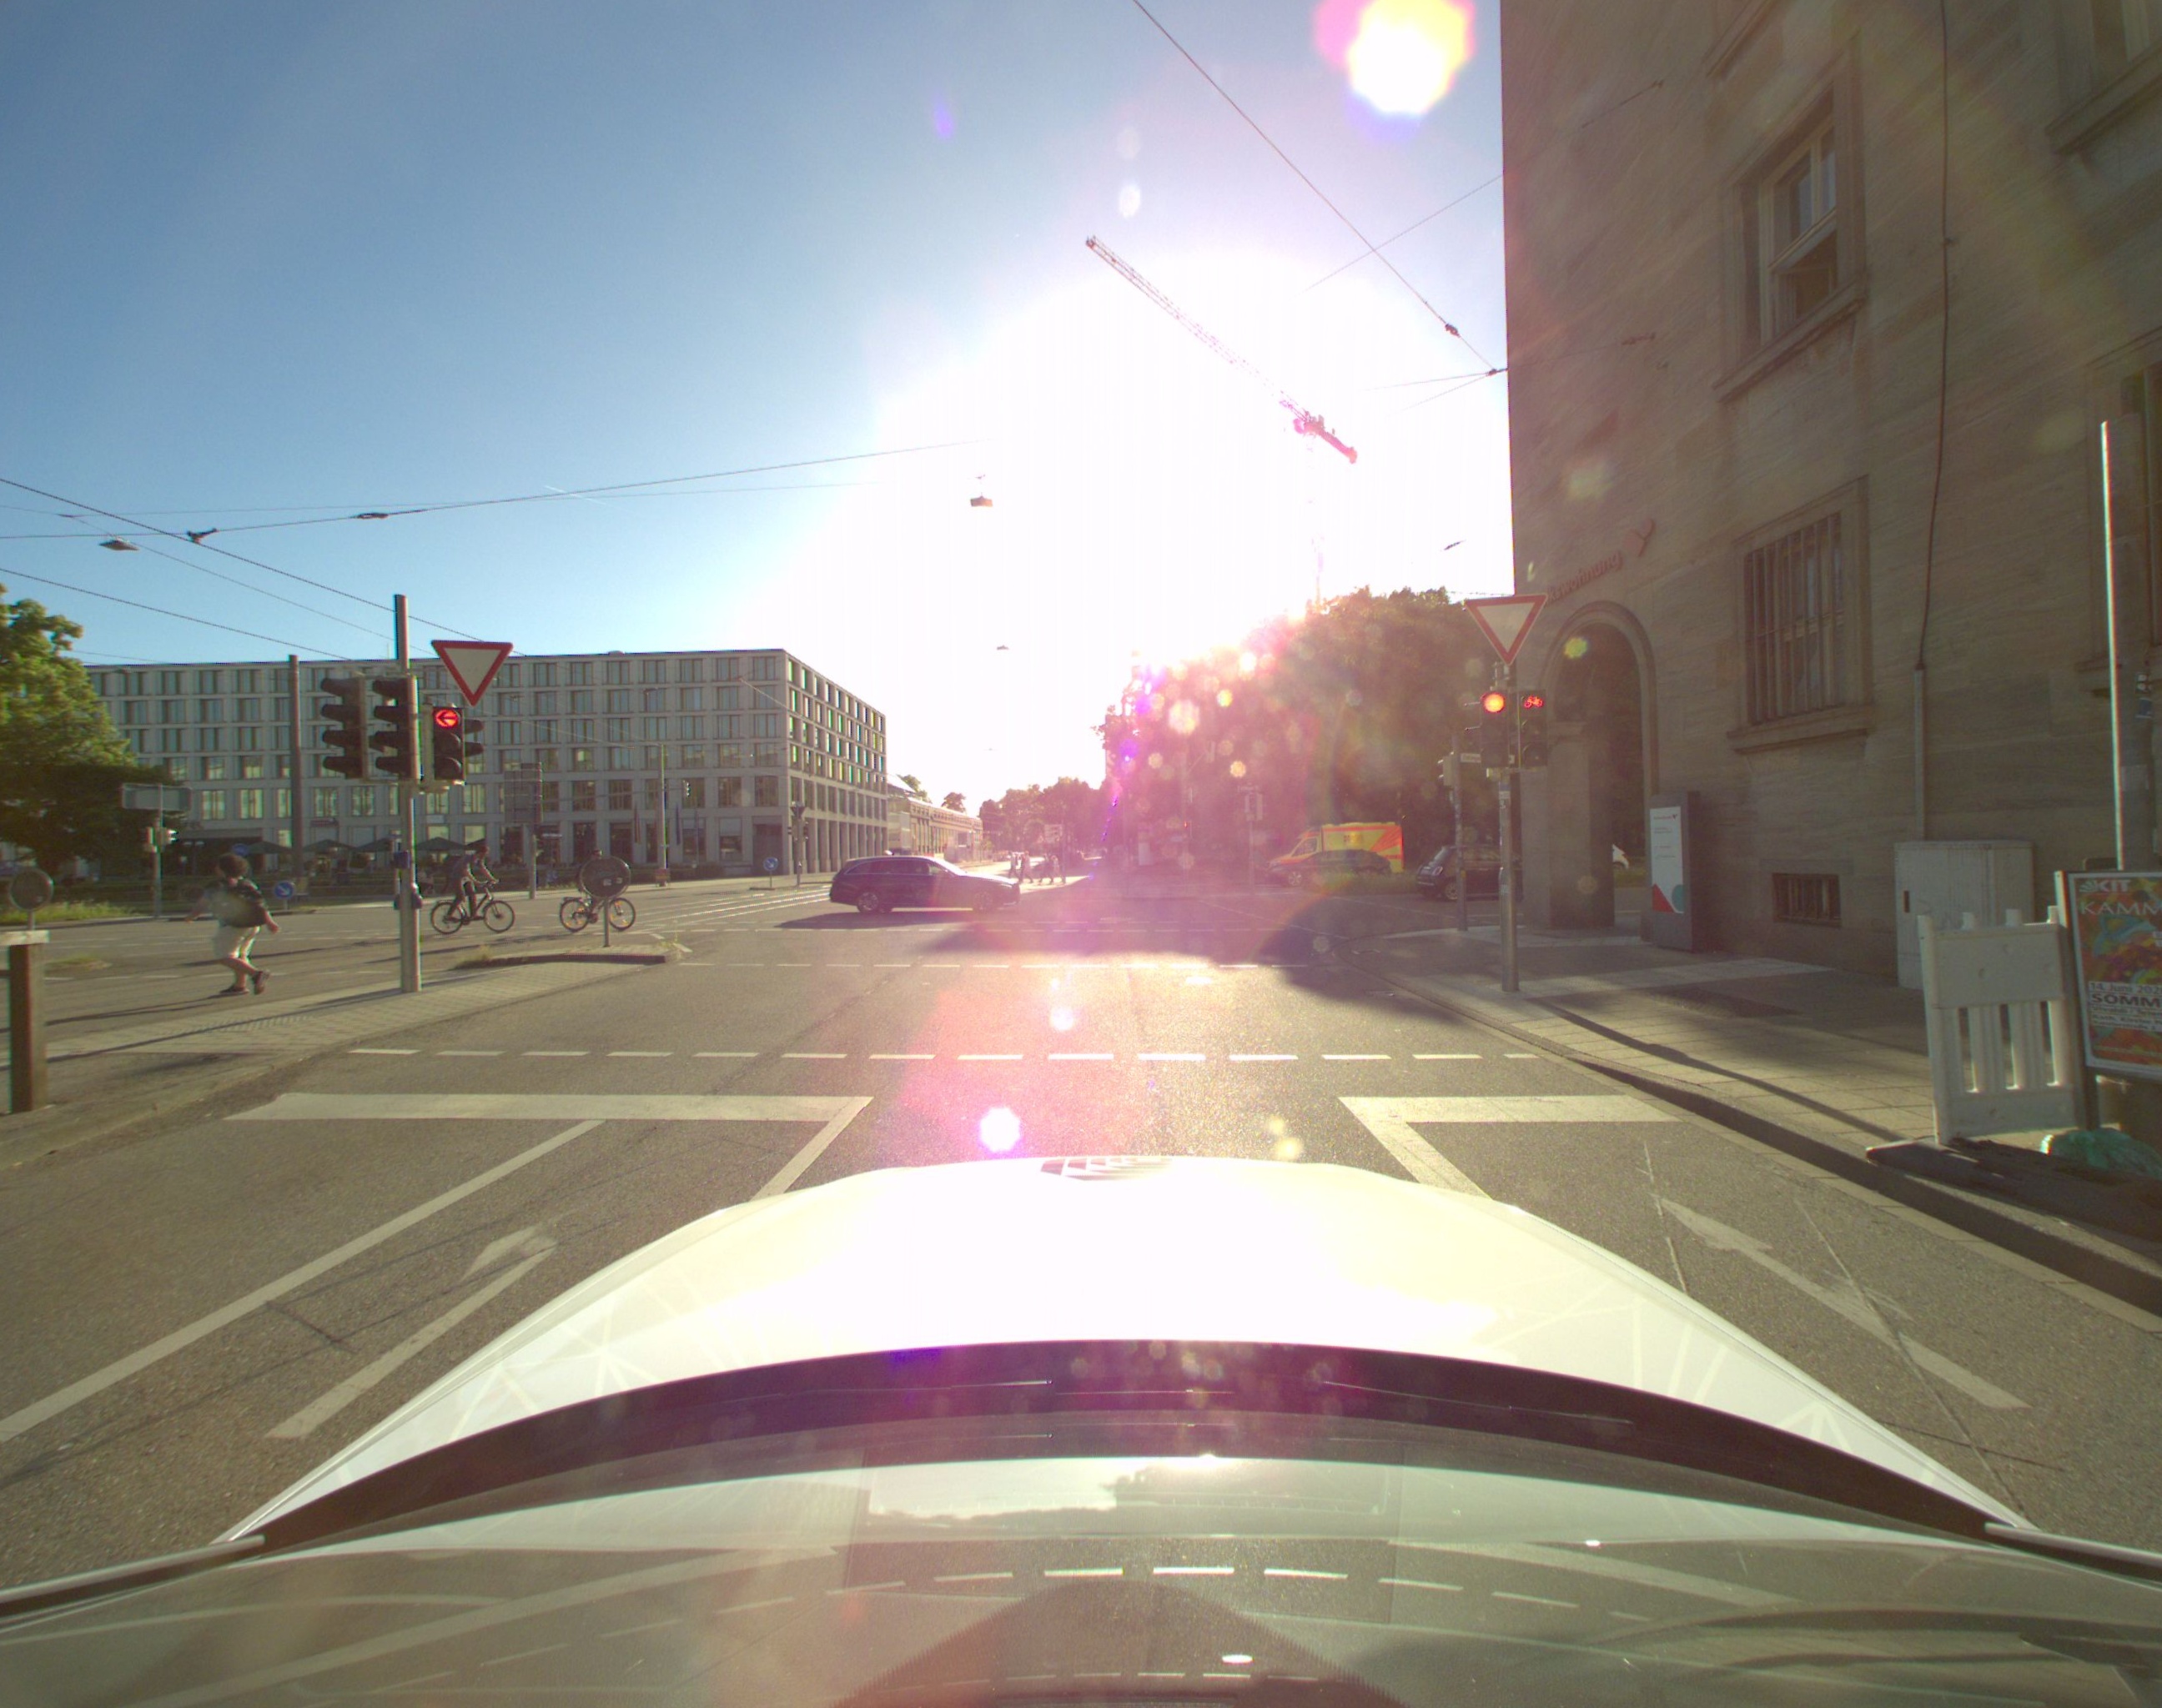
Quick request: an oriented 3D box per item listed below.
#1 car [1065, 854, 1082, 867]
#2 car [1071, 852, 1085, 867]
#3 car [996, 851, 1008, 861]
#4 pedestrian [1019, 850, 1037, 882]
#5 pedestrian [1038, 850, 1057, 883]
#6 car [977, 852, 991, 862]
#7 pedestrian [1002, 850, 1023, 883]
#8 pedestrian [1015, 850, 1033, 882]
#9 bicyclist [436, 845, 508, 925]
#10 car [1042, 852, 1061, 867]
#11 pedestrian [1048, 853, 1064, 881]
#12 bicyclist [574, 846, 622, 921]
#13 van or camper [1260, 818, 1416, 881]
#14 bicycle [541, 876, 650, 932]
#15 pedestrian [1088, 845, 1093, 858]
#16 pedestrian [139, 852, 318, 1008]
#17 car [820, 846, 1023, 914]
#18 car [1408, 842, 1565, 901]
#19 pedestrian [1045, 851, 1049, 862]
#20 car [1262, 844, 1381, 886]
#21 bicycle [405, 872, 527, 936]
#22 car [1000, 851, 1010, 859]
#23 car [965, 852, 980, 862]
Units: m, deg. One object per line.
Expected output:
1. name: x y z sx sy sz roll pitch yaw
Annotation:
1. car: -0.840 0.757 92.219 1.678 1.501 3.510 0 -1 2
2. car: -0.377 0.770 107.832 1.678 1.962 3.510 0 -1 2
3. car: -15.154 0.362 156.579 1.812 1.712 3.807 -2 0 2
4. pedestrian: -3.004 0.694 46.107 0.849 1.784 0.776 -2 0 -15
5. pedestrian: -1.888 0.690 45.558 0.849 1.784 0.776 -2 0 -15
6. car: -17.298 0.503 144.929 1.812 1.712 3.807 -2 0 2
7. pedestrian: -3.757 0.668 44.763 0.967 1.784 0.776 -2 0 -15
8. pedestrian: -3.283 0.704 46.855 0.849 1.784 0.776 -2 0 -15
9. bicyclist: -13.357 0.673 17.894 0.885 1.695 0.846 -2 0 7
10. car: -2.948 0.590 82.106 1.678 1.501 3.510 0 -1 2
11. pedestrian: -1.443 0.727 46.295 0.763 1.558 0.585 -2 0 -15
12. bicyclist: -10.492 0.627 17.701 0.615 1.582 0.595 -2 0 7
13. van or camper: 12.024 -0.190 38.633 6.674 2.862 2.915 0 -1 6
14. bicycle: -10.522 1.074 17.670 1.913 1.122 0.792 -2 0 7
15. pedestrian: 2.925 -0.751 246.153 1.396 3.597 1.568 0 -1 1
16. pedestrian: -10.147 0.855 9.756 1.039 1.721 1.032 -2 0 -10
17. car: -4.091 0.653 21.486 4.880 1.656 1.935 -1 1 2
18. car: 10.915 0.449 22.061 3.519 1.506 1.522 -1 0 -1
19. pedestrian: -4.425 0.299 106.905 0.522 1.484 0.437 0 -1 0
20. car: 9.642 0.437 32.873 4.297 1.647 1.889 0 -1 2
21. bicycle: -13.470 1.083 17.866 2.037 1.288 0.888 -2 0 7
22. car: -14.954 0.267 160.479 1.603 1.498 3.807 -2 0 2
23. car: -17.820 0.494 134.116 1.812 1.712 3.807 -2 0 2
